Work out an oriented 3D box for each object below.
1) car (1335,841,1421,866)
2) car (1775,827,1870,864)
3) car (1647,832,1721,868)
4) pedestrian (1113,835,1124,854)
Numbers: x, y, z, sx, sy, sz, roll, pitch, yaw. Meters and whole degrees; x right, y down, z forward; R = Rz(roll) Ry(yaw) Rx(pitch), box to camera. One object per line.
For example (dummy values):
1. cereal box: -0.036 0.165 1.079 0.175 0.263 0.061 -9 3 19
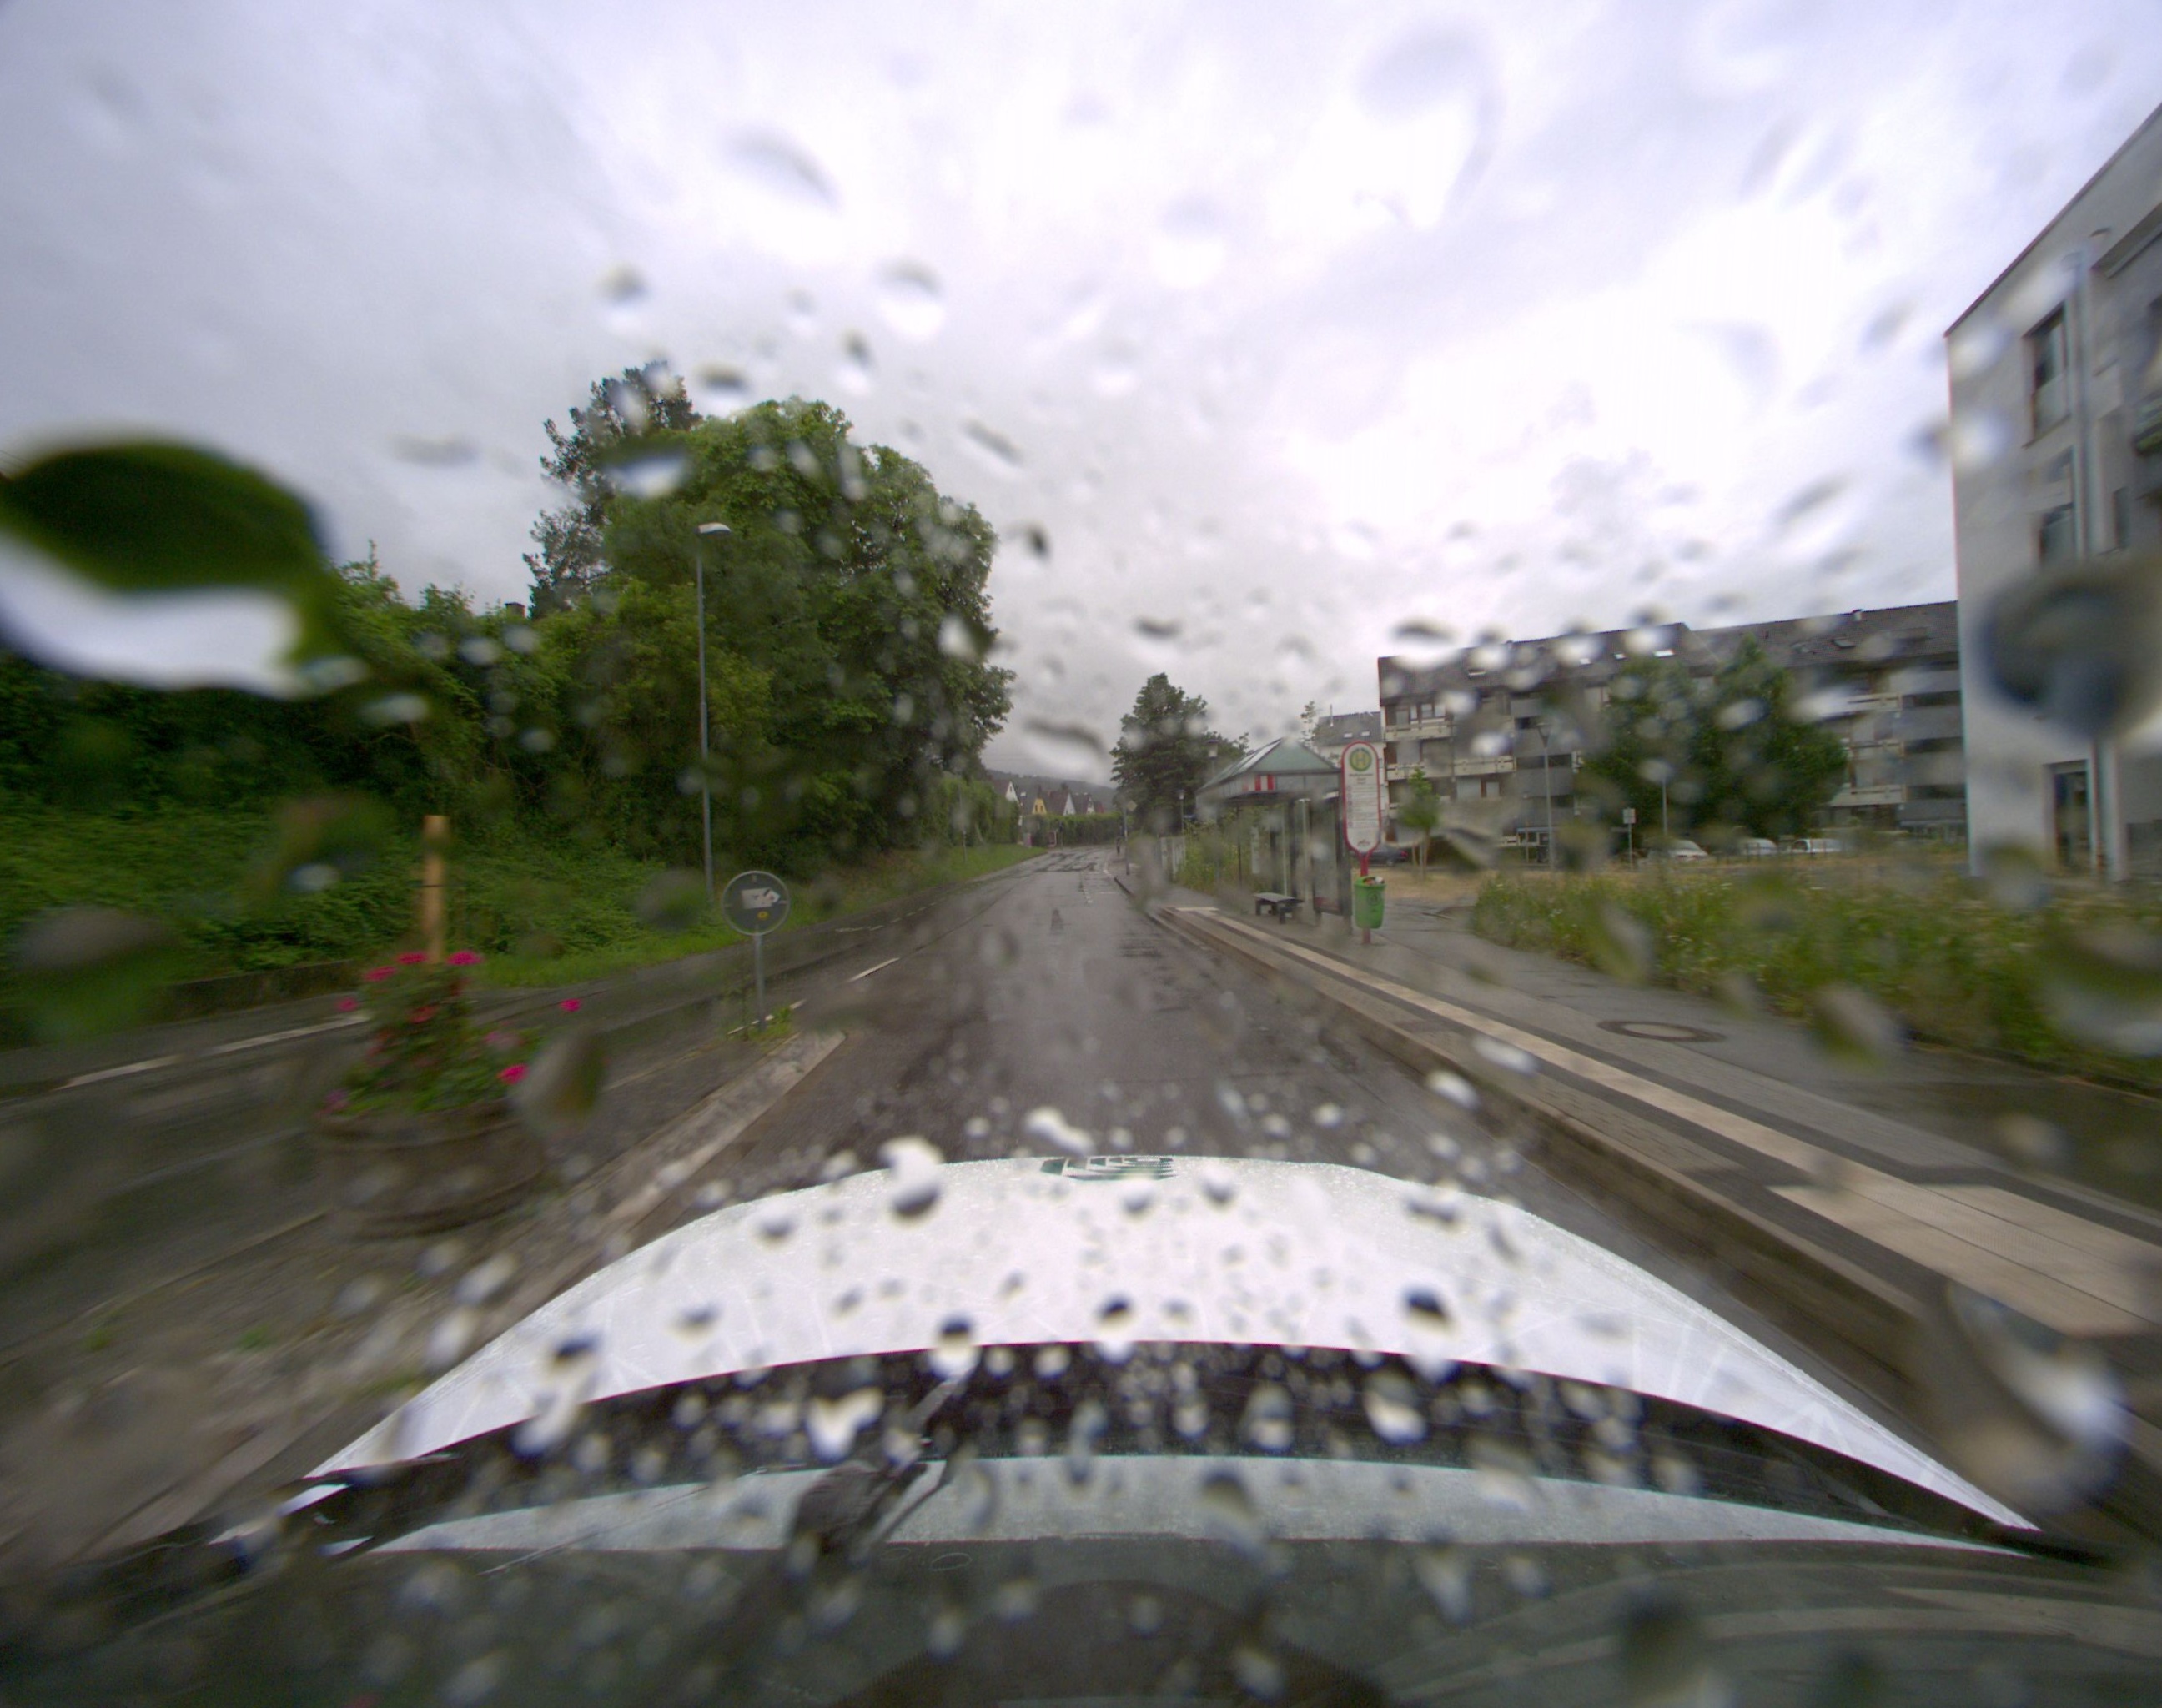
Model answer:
1. car: 17.606 -0.024 48.261 4.558 1.387 1.958 0 1 26
2. car: 31.768 -0.318 35.014 1.701 1.441 3.725 -1 -2 20
3. car: 27.154 -0.147 36.789 1.701 1.441 3.725 -1 -2 20
4. pedestrian: 3.463 -0.893 76.037 0.916 1.675 1.058 -3 1 3
